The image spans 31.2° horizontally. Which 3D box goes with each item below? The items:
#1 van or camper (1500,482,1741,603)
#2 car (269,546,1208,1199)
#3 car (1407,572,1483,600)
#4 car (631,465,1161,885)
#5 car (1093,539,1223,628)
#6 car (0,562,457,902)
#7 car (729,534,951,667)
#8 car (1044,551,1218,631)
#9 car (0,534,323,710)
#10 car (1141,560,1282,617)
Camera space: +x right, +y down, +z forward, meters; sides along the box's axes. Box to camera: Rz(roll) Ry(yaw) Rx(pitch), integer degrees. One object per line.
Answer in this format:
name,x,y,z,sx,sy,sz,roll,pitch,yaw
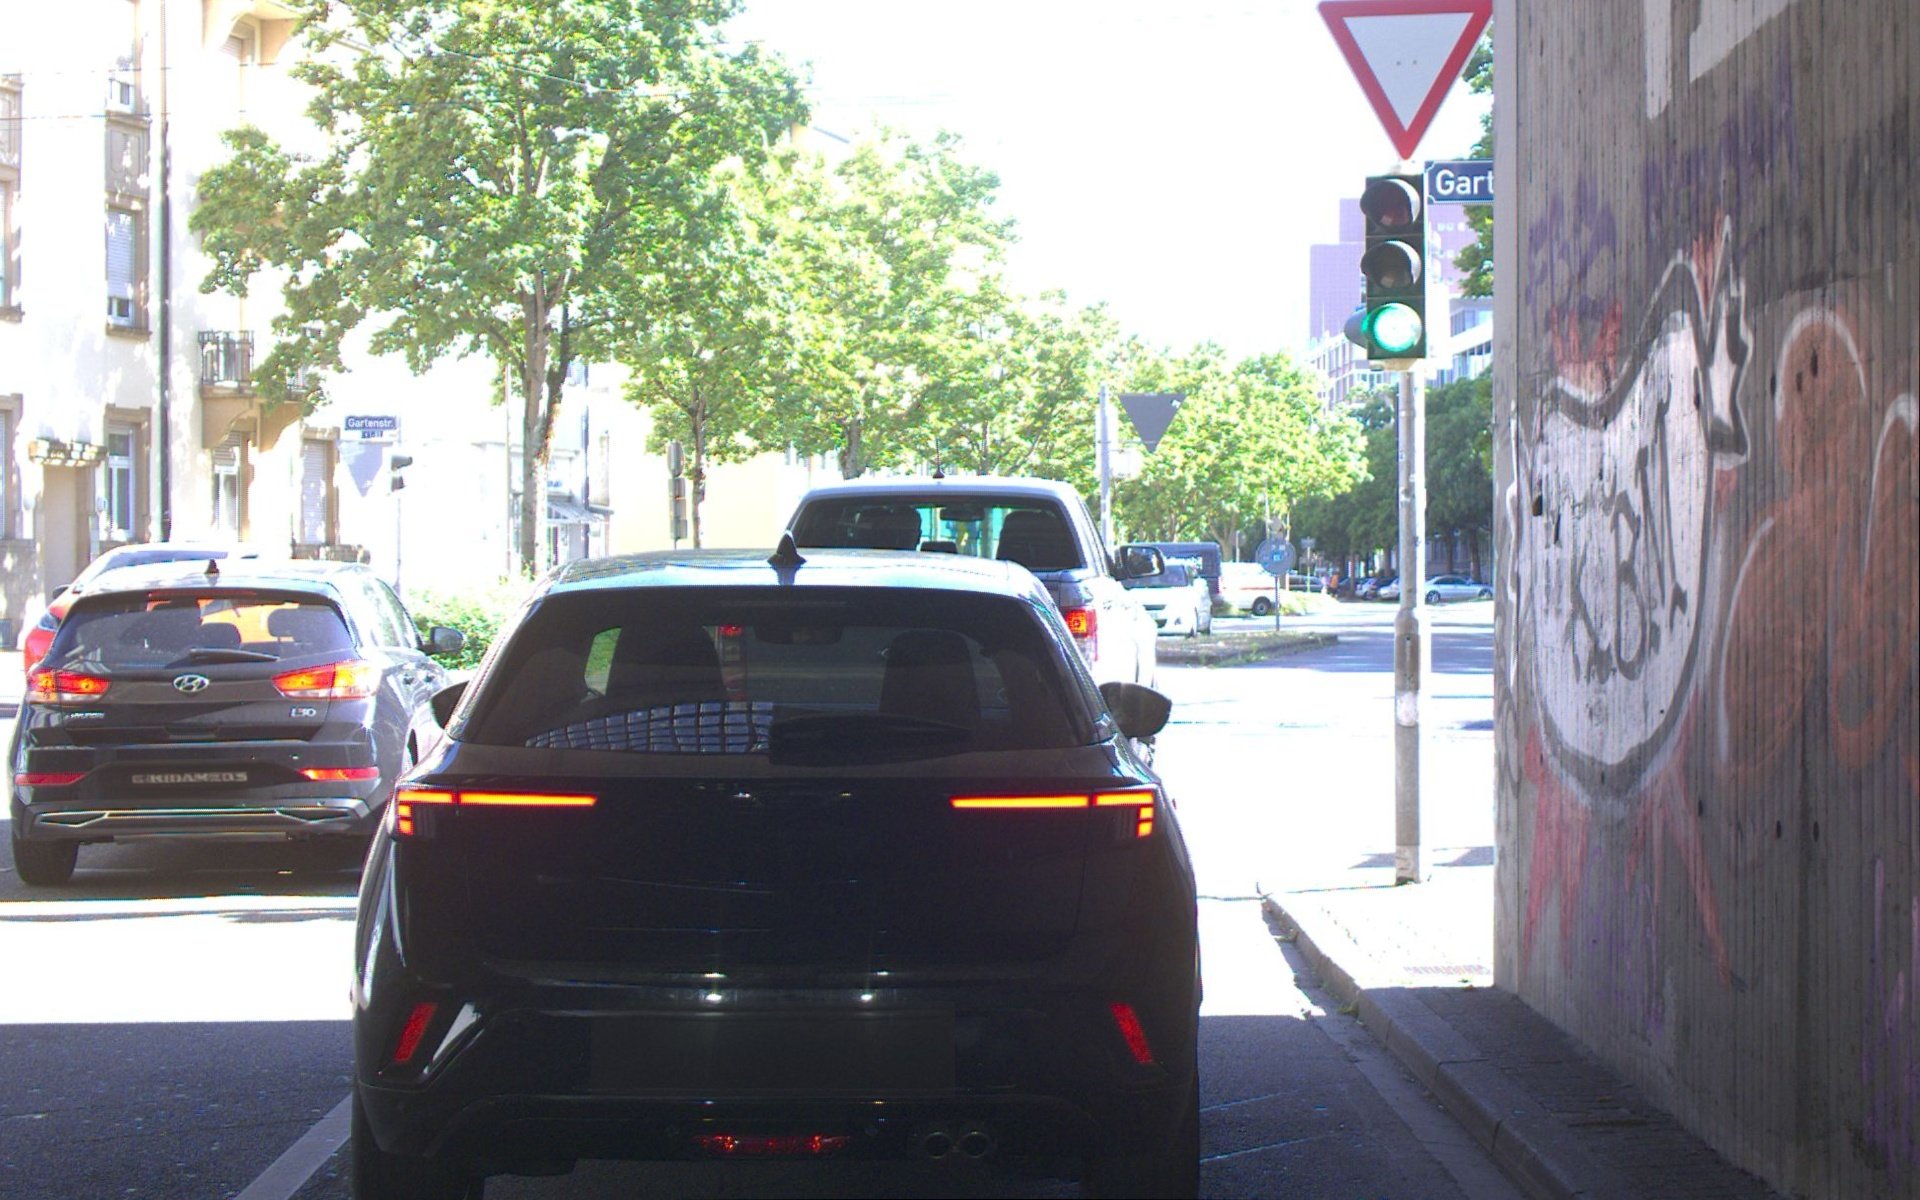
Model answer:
van or camper,17.549,-1.502,91.514,6.081,2.919,2.574,-2,0,11
car,-0.408,0.639,8.438,1.782,1.512,3.755,1,1,1
car,26.662,-0.757,188.880,3.947,1.392,1.516,-2,0,3
car,-0.143,0.295,17.555,2.133,1.829,4.939,0,1,6
car,3.592,-0.312,61.779,1.706,1.507,3.861,-2,0,12
car,-3.522,0.553,17.077,1.800,1.446,4.327,1,1,-6
car,-1.370,-0.021,40.980,1.789,1.508,4.114,0,1,11
car,5.547,-0.301,111.514,5.259,2.537,1.986,-1,0,-14
car,-6.839,0.153,29.783,1.658,1.436,3.462,0,1,7
car,9.450,-0.438,129.118,4.882,2.076,1.986,-1,0,-23
